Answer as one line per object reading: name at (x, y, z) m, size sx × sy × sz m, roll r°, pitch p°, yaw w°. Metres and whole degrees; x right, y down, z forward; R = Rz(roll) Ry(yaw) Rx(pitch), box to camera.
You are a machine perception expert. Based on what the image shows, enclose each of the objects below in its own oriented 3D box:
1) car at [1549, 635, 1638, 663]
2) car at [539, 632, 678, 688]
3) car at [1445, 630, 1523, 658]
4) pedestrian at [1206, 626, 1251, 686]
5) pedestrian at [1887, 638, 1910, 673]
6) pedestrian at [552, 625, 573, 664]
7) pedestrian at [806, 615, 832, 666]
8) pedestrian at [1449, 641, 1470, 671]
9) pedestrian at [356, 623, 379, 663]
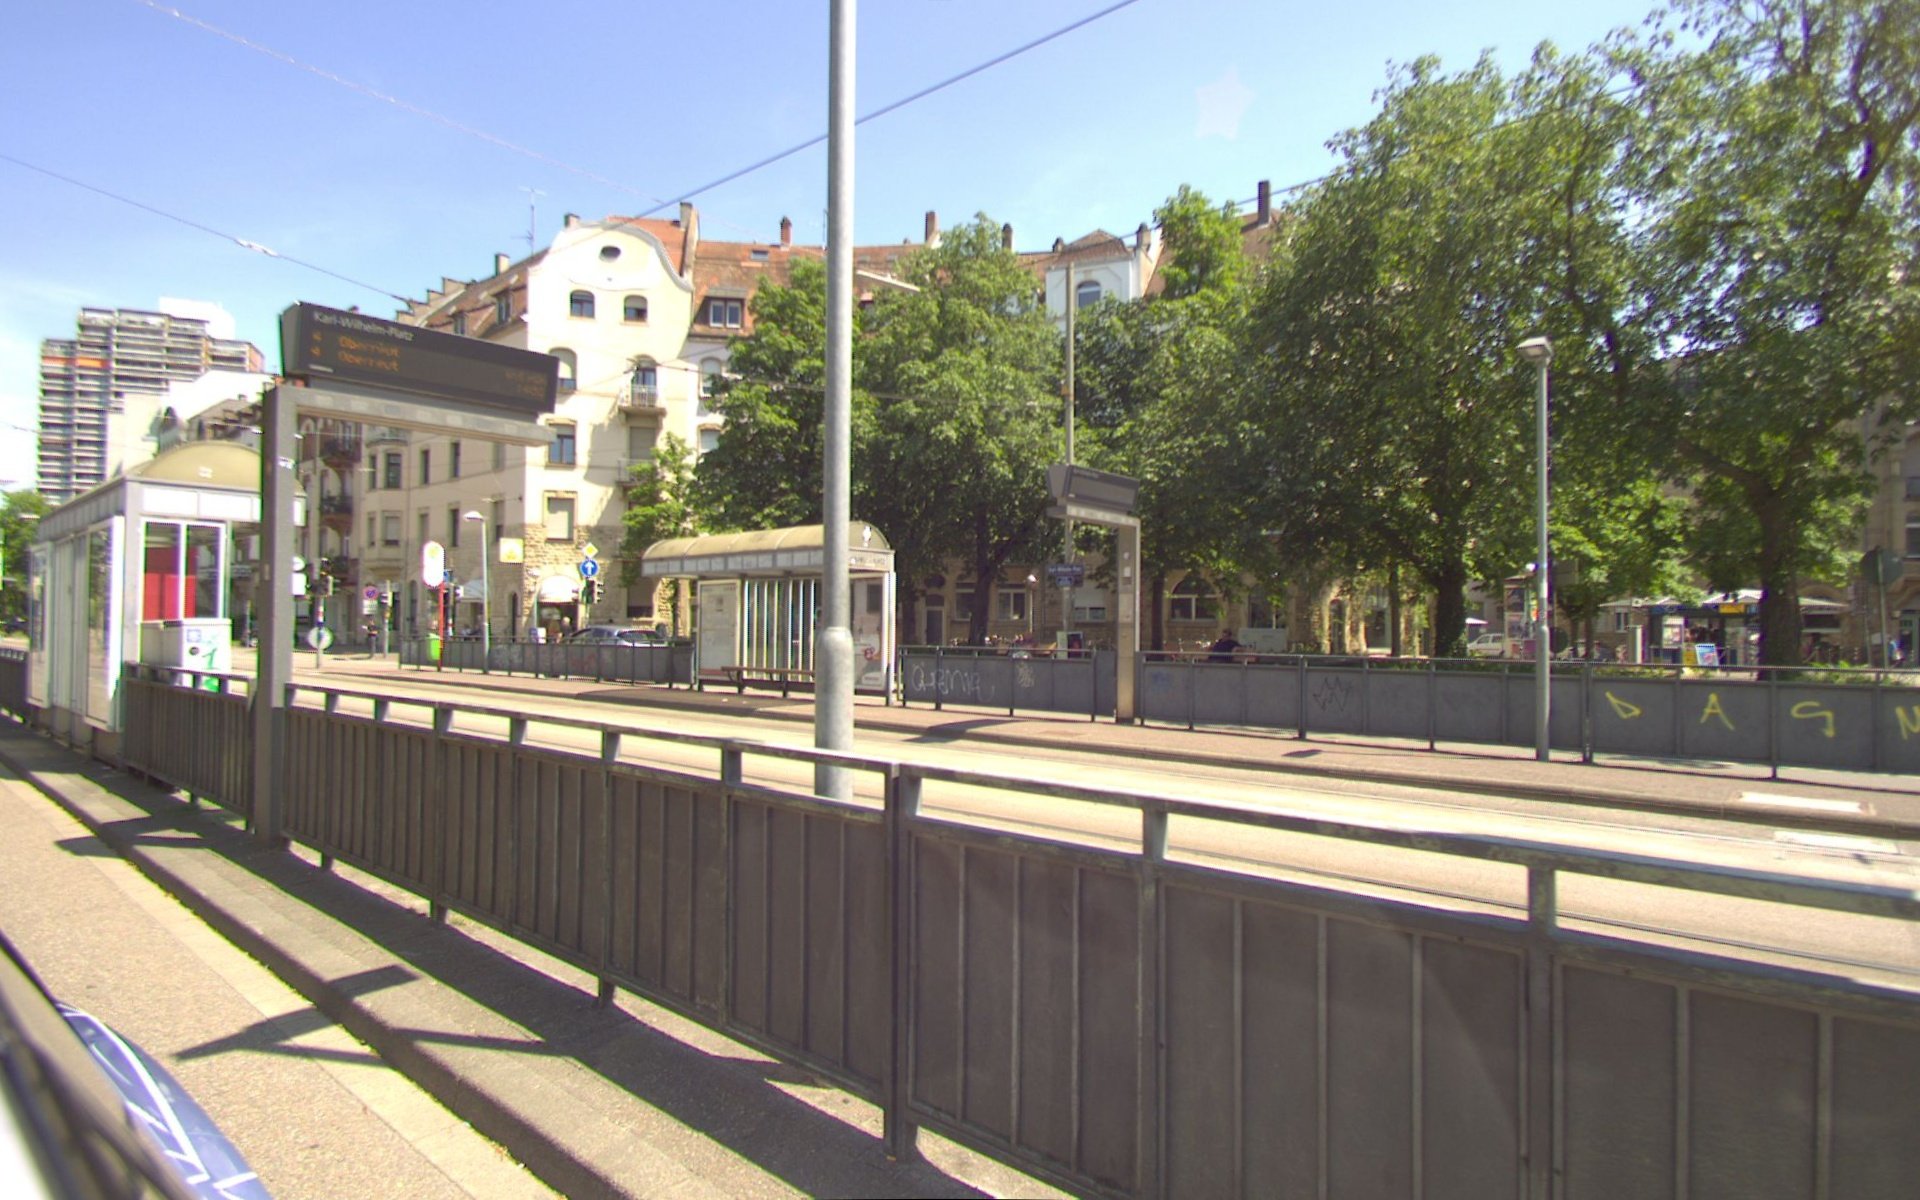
car at (36.189, 2.770, 57.911) m, size 1.665 × 1.512 × 4.012 m, roll 1°, pitch -2°, yaw -30°
car at (-9.060, 1.486, 25.963) m, size 3.846 × 1.320 × 1.675 m, roll -1°, pitch -2°, yaw 41°
car at (33.098, 2.767, 64.002) m, size 1.780 × 1.711 × 4.012 m, roll 1°, pitch -2°, yaw -30°
pedestrian at (6.050, 1.244, 22.806) m, size 0.811 × 1.327 × 0.653 m, roll 2°, pitch -3°, yaw -43°
pedestrian at (42.469, 2.519, 45.814) m, size 0.493 × 1.569 × 0.551 m, roll 0°, pitch -2°, yaw -4°
pedestrian at (-14.835, 1.655, 37.765) m, size 0.519 × 1.452 × 0.531 m, roll -1°, pitch -3°, yaw 32°
pedestrian at (-4.141, 1.185, 29.671) m, size 0.519 × 1.452 × 0.531 m, roll -1°, pitch -3°, yaw 31°
pedestrian at (23.207, 2.604, 47.036) m, size 0.691 × 1.360 × 0.605 m, roll 2°, pitch -3°, yaw -38°
pedestrian at (-25.996, 1.878, 44.397) m, size 0.796 × 1.733 × 0.765 m, roll 2°, pitch -2°, yaw -34°
